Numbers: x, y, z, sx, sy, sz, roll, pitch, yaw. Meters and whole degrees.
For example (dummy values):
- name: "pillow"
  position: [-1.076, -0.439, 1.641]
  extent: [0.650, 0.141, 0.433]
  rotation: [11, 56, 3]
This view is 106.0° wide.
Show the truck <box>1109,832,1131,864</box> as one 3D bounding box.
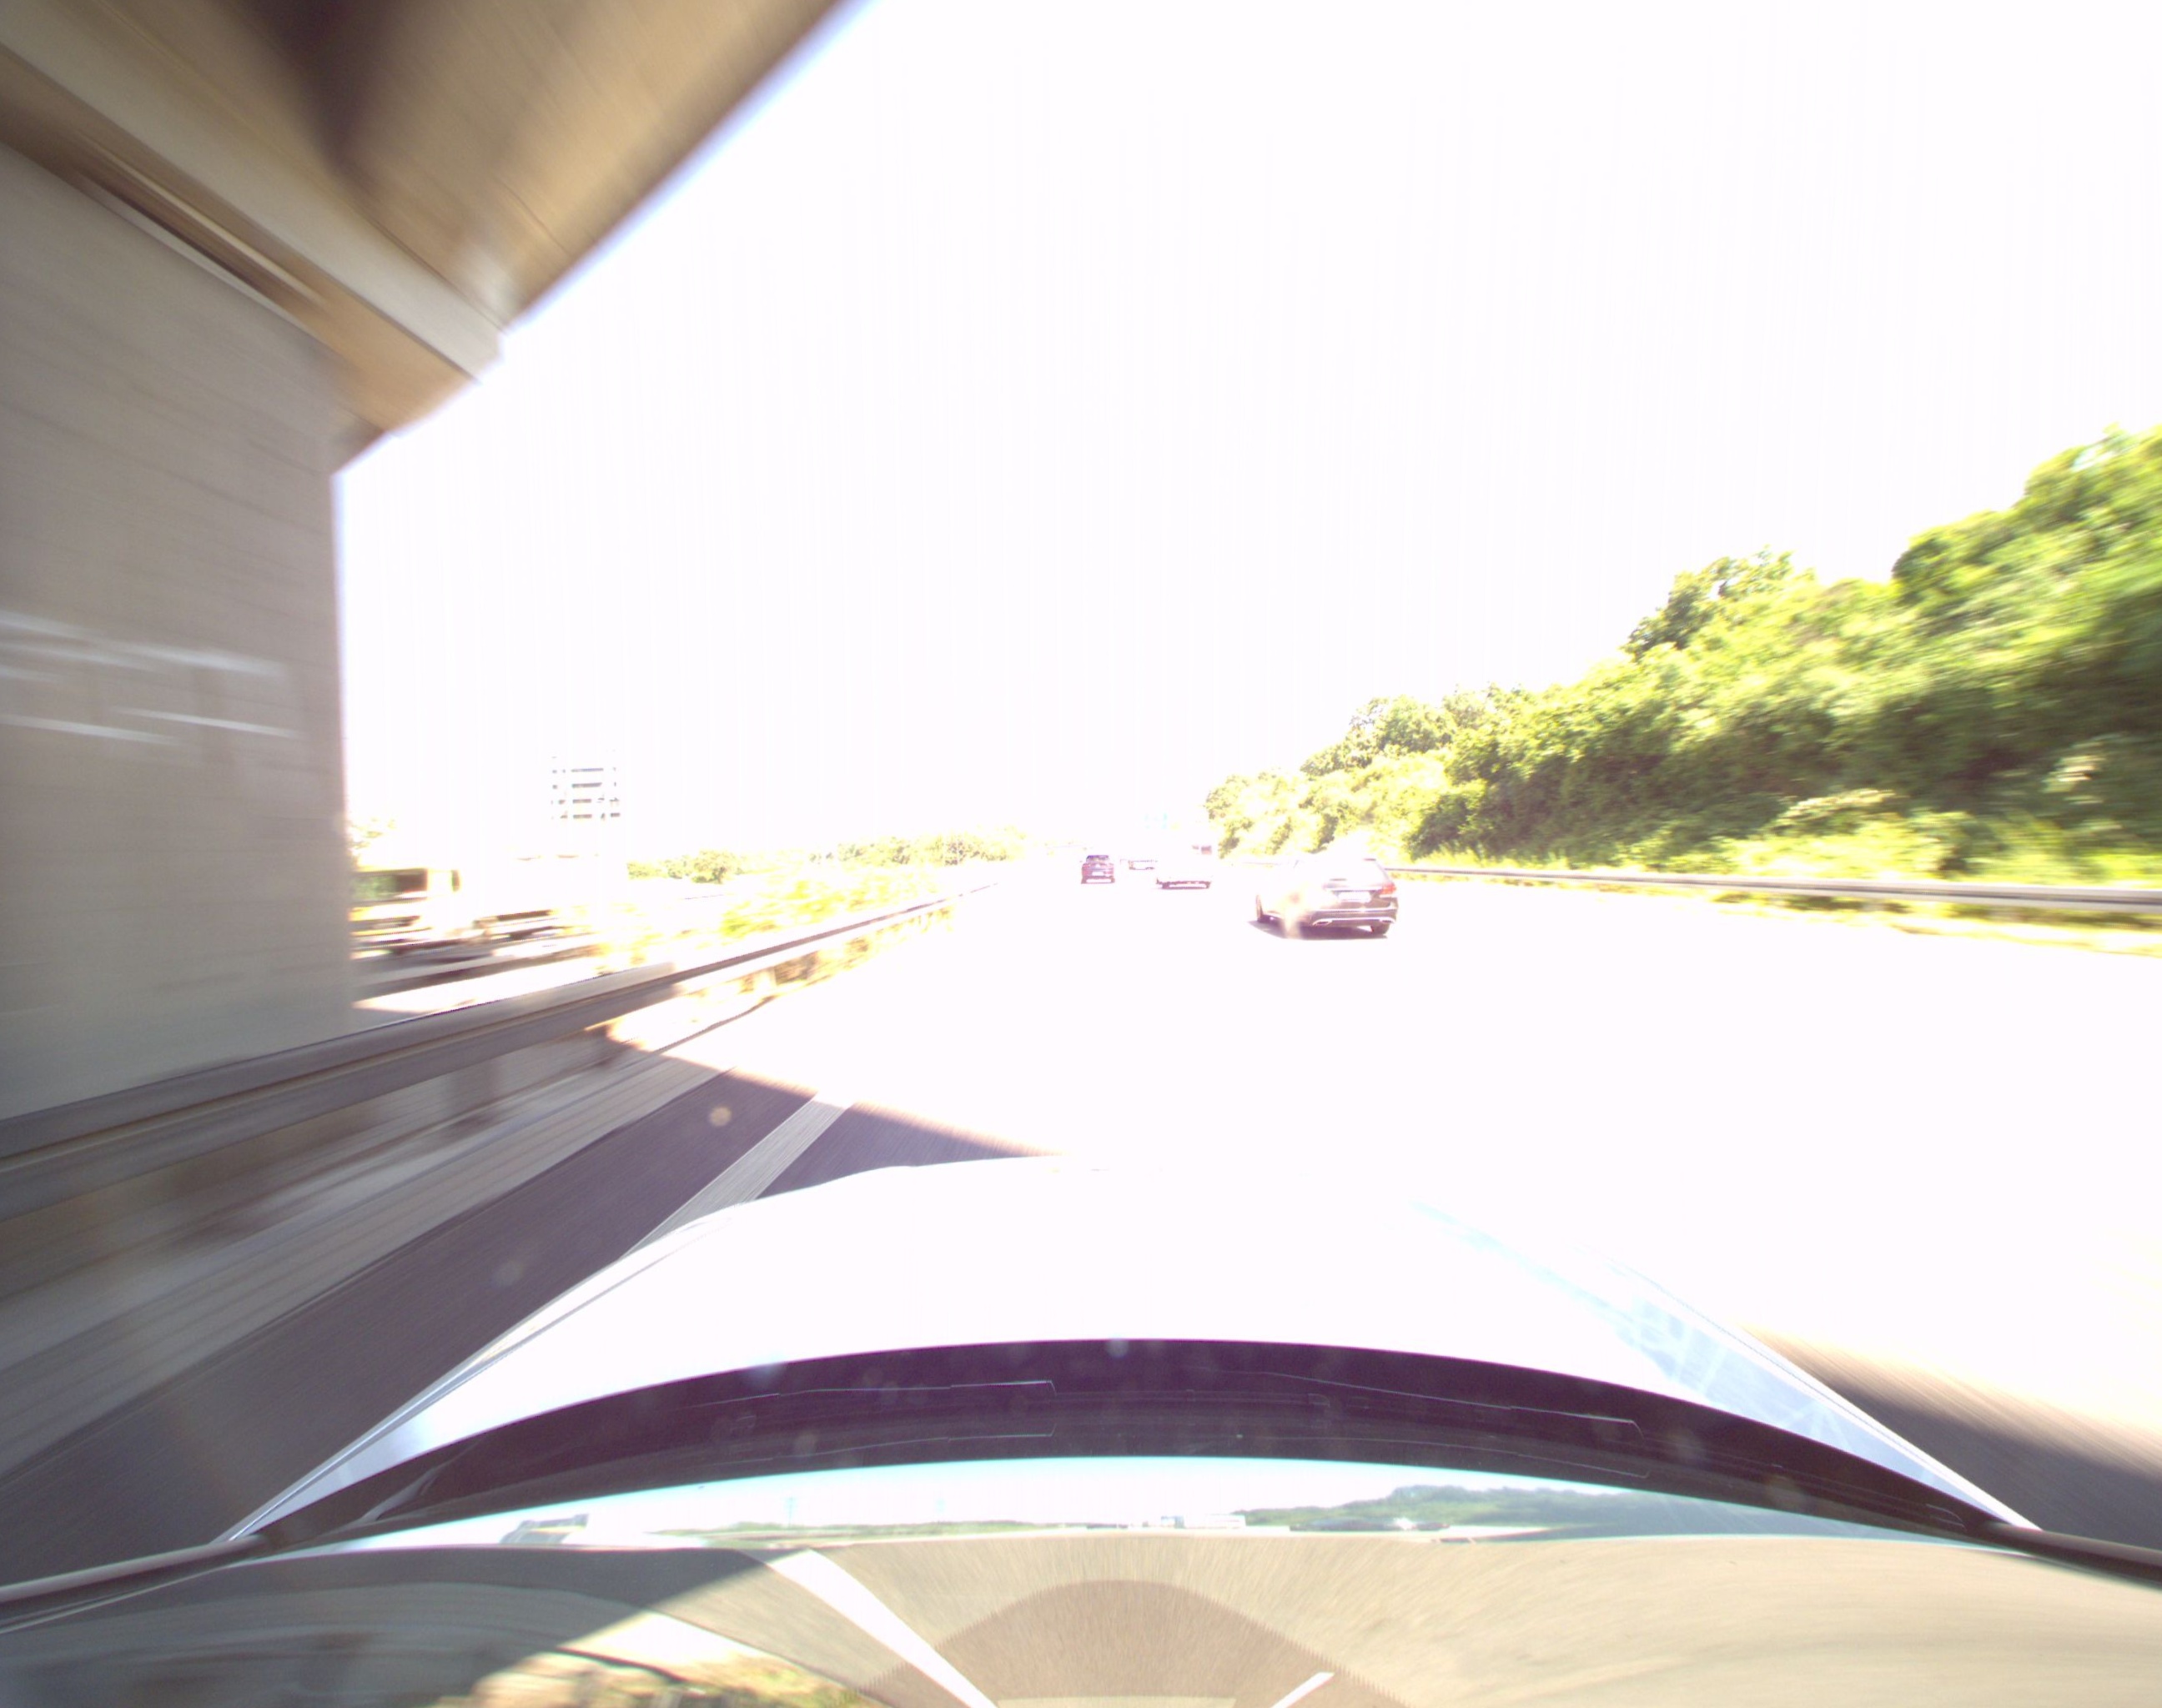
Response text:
- name: "truck"
  position: [6.587, -0.971, 139.403]
  extent: [3.498, 5.166, 10.263]
  rotation: [-1, 0, 2]

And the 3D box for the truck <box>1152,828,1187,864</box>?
- name: "truck"
  position: [11.179, -0.942, 104.341]
  extent: [3.557, 4.245, 11.657]
  rotation: [-1, 0, 2]

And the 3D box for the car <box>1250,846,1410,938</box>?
- name: "car"
  position: [4.659, 0.638, 16.025]
  extent: [1.834, 1.505, 4.740]
  rotation: [-1, 0, 2]

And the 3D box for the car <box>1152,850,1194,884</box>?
- name: "car"
  position: [4.795, 0.629, 42.956]
  extent: [1.871, 1.612, 4.706]
  rotation: [-3, 0, 3]

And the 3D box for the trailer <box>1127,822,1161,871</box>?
- name: "trailer"
  position: [6.659, -0.710, 88.047]
  extent: [3.075, 4.885, 12.264]
  rotation: [-1, 0, 2]

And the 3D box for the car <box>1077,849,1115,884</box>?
- name: "car"
  position: [0.856, 0.676, 46.138]
  extent: [1.987, 1.772, 4.001]
  rotation: [-3, 0, 1]

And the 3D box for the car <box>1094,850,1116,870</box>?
- name: "car"
  position: [2.249, 0.579, 78.231]
  extent: [1.955, 1.814, 4.450]
  rotation: [-3, 0, 1]

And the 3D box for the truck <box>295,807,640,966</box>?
- name: "truck"
  position: [-17.571, 0.818, 24.520]
  extent: [3.498, 3.862, 8.666]
  rotation: [-1, 0, 2]

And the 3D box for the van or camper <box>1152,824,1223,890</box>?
- name: "van or camper"
  position: [4.752, 0.124, 37.437]
  extent: [2.430, 2.674, 6.351]
  rotation: [-3, 0, 1]
